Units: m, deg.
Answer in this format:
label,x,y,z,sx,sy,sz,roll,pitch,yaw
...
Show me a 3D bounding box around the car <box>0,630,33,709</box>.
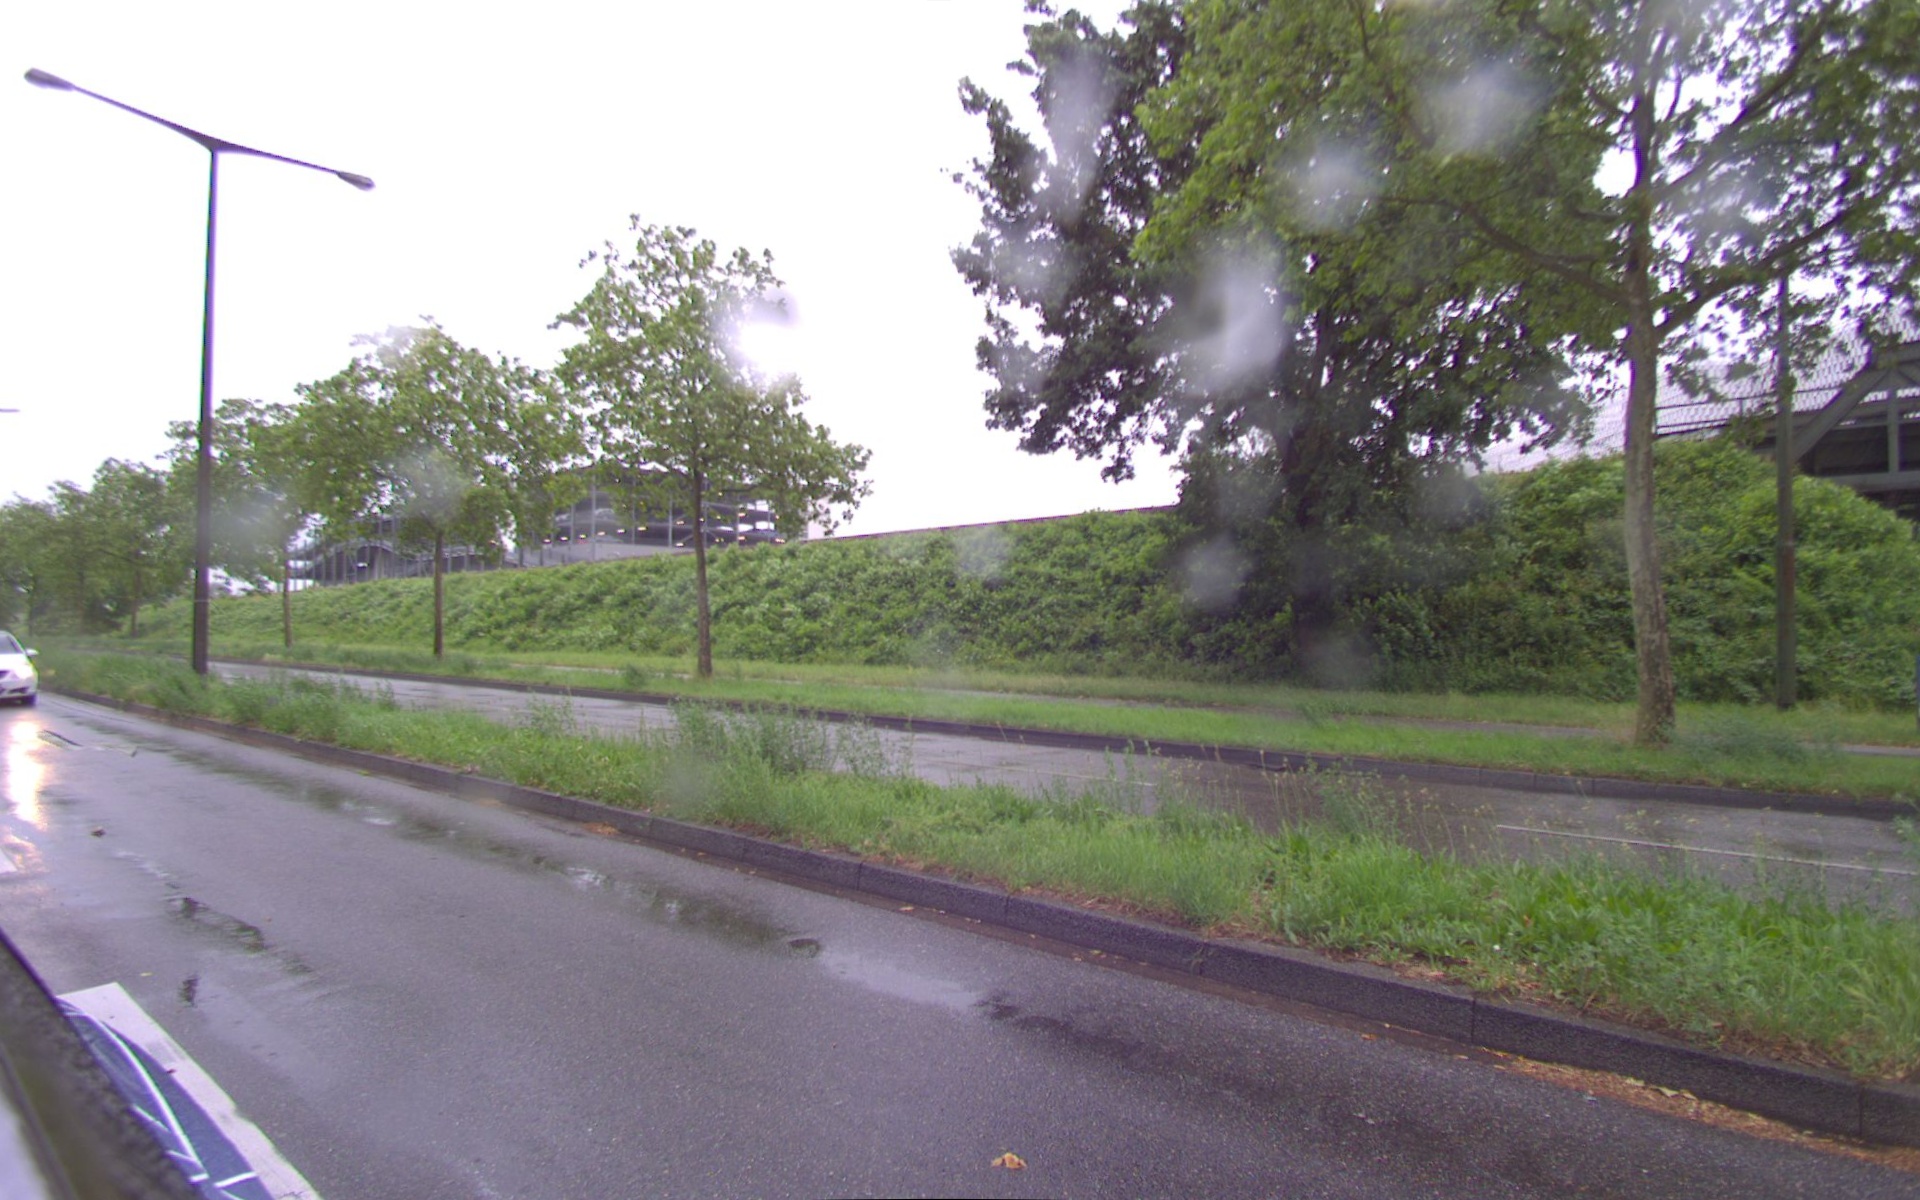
label,x,y,z,sx,sy,sz,roll,pitch,yaw
car,-18.893,1.298,19.068,4.009,1.387,1.661,-2,-1,41
